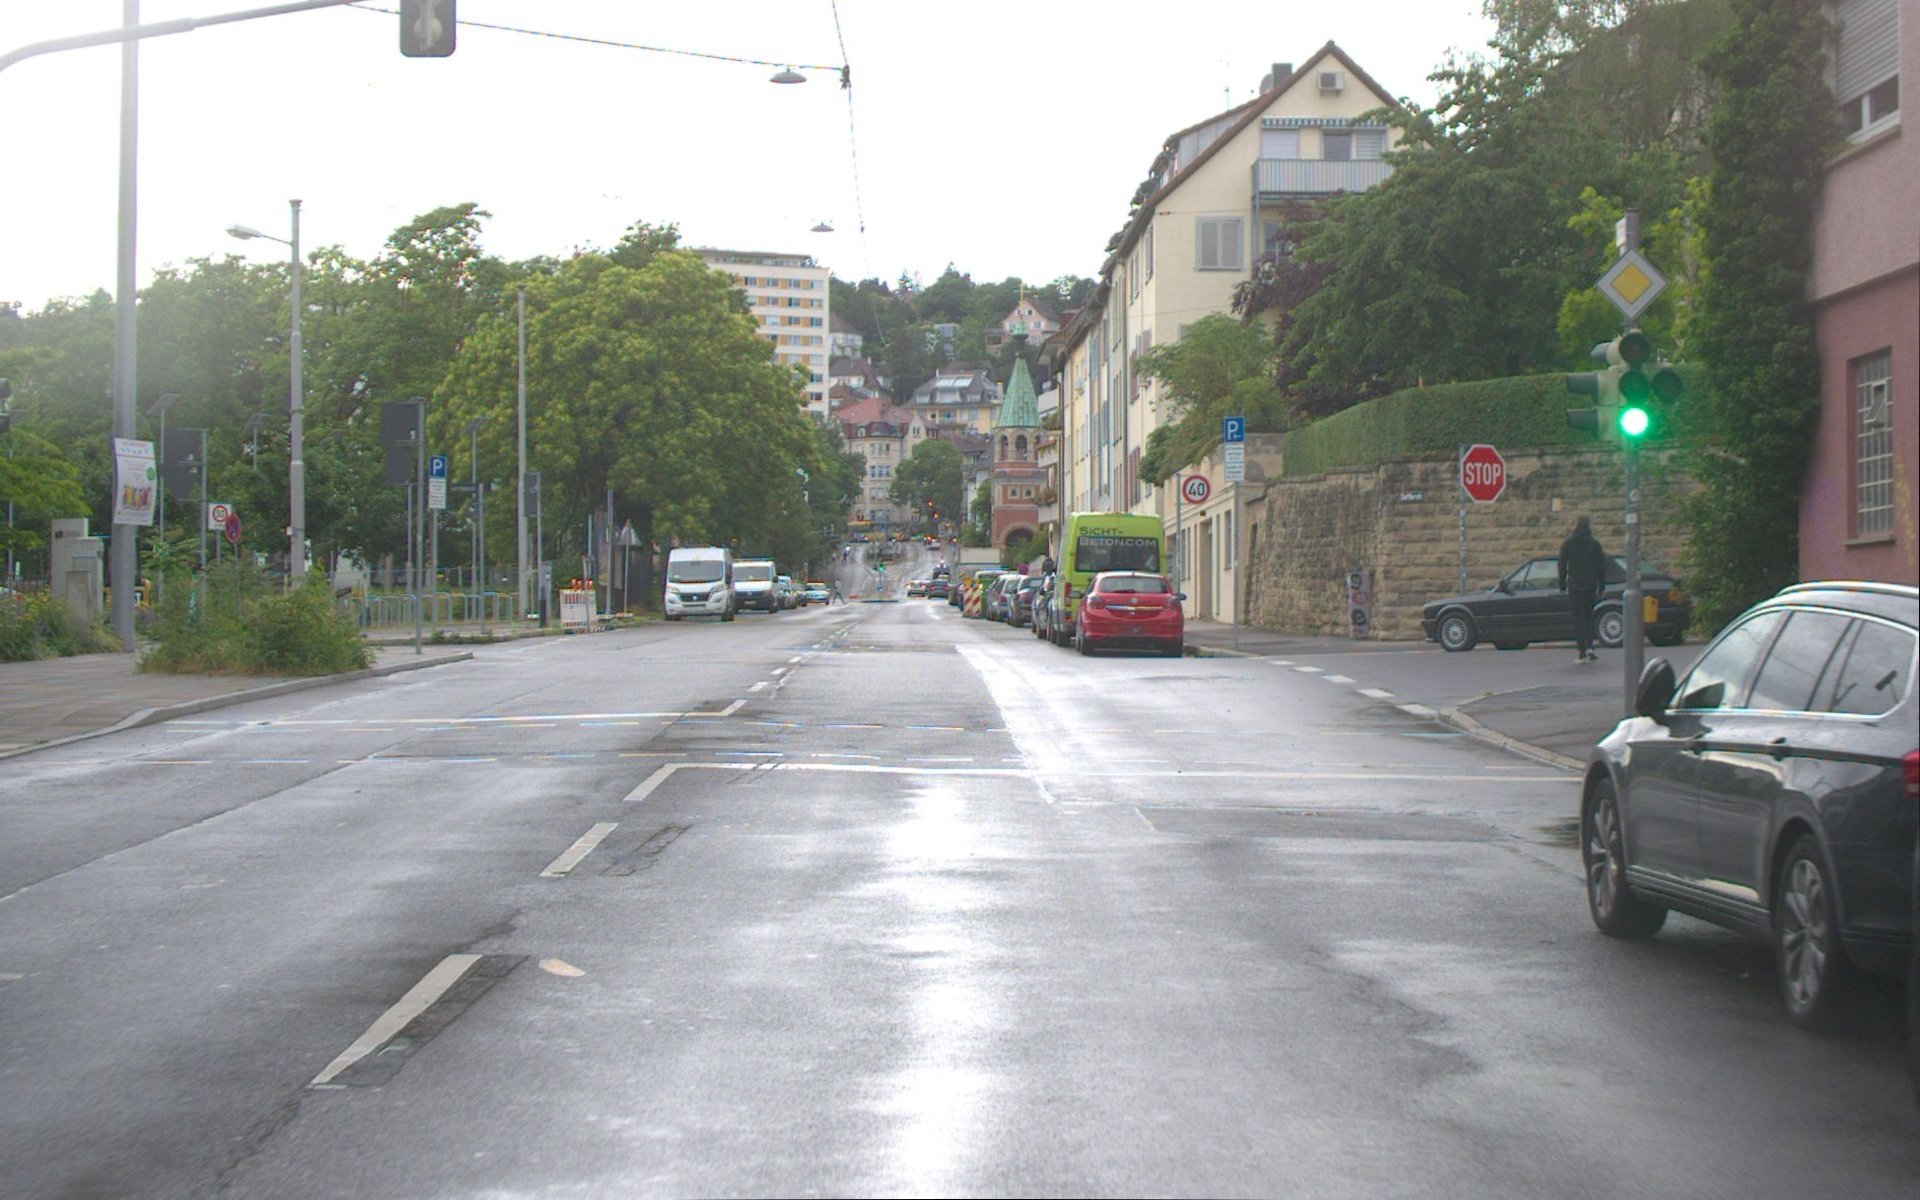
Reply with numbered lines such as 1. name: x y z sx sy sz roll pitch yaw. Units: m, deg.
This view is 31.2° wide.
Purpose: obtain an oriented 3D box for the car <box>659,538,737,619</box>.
1. car: -8.682 -0.711 114.480 2.230 2.570 6.538 -1 0 -2

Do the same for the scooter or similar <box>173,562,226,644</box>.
1. scooter or similar: -11.698 0.054 52.879 0.496 1.244 1.231 2 -1 0

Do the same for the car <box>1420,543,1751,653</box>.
1. car: 8.769 0.001 48.406 4.274 1.388 1.748 -3 -2 41

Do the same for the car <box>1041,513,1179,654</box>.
1. car: 2.782 -0.322 65.053 2.205 2.455 6.080 2 0 -1

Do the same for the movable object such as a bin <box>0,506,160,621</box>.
1. movable object such as a bin: -19.603 -0.795 75.635 1.666 2.451 5.287 1 0 -40

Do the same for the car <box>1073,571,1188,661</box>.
1. car: 2.856 0.251 58.311 1.721 1.416 4.203 2 0 0

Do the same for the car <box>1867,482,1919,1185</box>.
1. car: 3.429 0.621 6.871 1.963 1.768 4.513 1 1 -1

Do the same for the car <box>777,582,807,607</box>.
1. car: -10.235 -0.340 209.763 1.803 1.446 4.658 0 -1 -3

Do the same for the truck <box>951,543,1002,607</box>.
1. truck: 0.800 -1.231 173.447 2.469 3.161 7.036 1 0 0

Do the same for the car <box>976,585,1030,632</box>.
1. car: 1.399 0.266 112.509 1.558 1.449 3.759 2 0 -1

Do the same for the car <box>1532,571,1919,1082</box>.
1. car: 3.493 0.674 12.667 1.792 1.514 4.513 1 1 -3

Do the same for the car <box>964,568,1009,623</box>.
1. car: 1.128 -0.215 146.392 1.716 2.231 4.000 2 0 -1

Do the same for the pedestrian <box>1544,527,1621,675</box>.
1. pedestrian: 7.321 0.009 40.457 0.723 1.709 0.905 -1 1 0

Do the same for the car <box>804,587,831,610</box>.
1. car: -9.320 -0.086 224.842 1.709 1.446 4.294 0 -1 -2

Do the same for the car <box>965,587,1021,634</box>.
1. car: 1.120 0.351 117.636 1.716 1.519 4.000 2 0 -1

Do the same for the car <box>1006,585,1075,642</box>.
1. car: 2.166 0.353 93.320 1.629 1.449 3.759 2 0 -1

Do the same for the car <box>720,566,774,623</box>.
1. car: -9.473 -0.252 153.296 2.012 2.479 5.983 0 0 0
